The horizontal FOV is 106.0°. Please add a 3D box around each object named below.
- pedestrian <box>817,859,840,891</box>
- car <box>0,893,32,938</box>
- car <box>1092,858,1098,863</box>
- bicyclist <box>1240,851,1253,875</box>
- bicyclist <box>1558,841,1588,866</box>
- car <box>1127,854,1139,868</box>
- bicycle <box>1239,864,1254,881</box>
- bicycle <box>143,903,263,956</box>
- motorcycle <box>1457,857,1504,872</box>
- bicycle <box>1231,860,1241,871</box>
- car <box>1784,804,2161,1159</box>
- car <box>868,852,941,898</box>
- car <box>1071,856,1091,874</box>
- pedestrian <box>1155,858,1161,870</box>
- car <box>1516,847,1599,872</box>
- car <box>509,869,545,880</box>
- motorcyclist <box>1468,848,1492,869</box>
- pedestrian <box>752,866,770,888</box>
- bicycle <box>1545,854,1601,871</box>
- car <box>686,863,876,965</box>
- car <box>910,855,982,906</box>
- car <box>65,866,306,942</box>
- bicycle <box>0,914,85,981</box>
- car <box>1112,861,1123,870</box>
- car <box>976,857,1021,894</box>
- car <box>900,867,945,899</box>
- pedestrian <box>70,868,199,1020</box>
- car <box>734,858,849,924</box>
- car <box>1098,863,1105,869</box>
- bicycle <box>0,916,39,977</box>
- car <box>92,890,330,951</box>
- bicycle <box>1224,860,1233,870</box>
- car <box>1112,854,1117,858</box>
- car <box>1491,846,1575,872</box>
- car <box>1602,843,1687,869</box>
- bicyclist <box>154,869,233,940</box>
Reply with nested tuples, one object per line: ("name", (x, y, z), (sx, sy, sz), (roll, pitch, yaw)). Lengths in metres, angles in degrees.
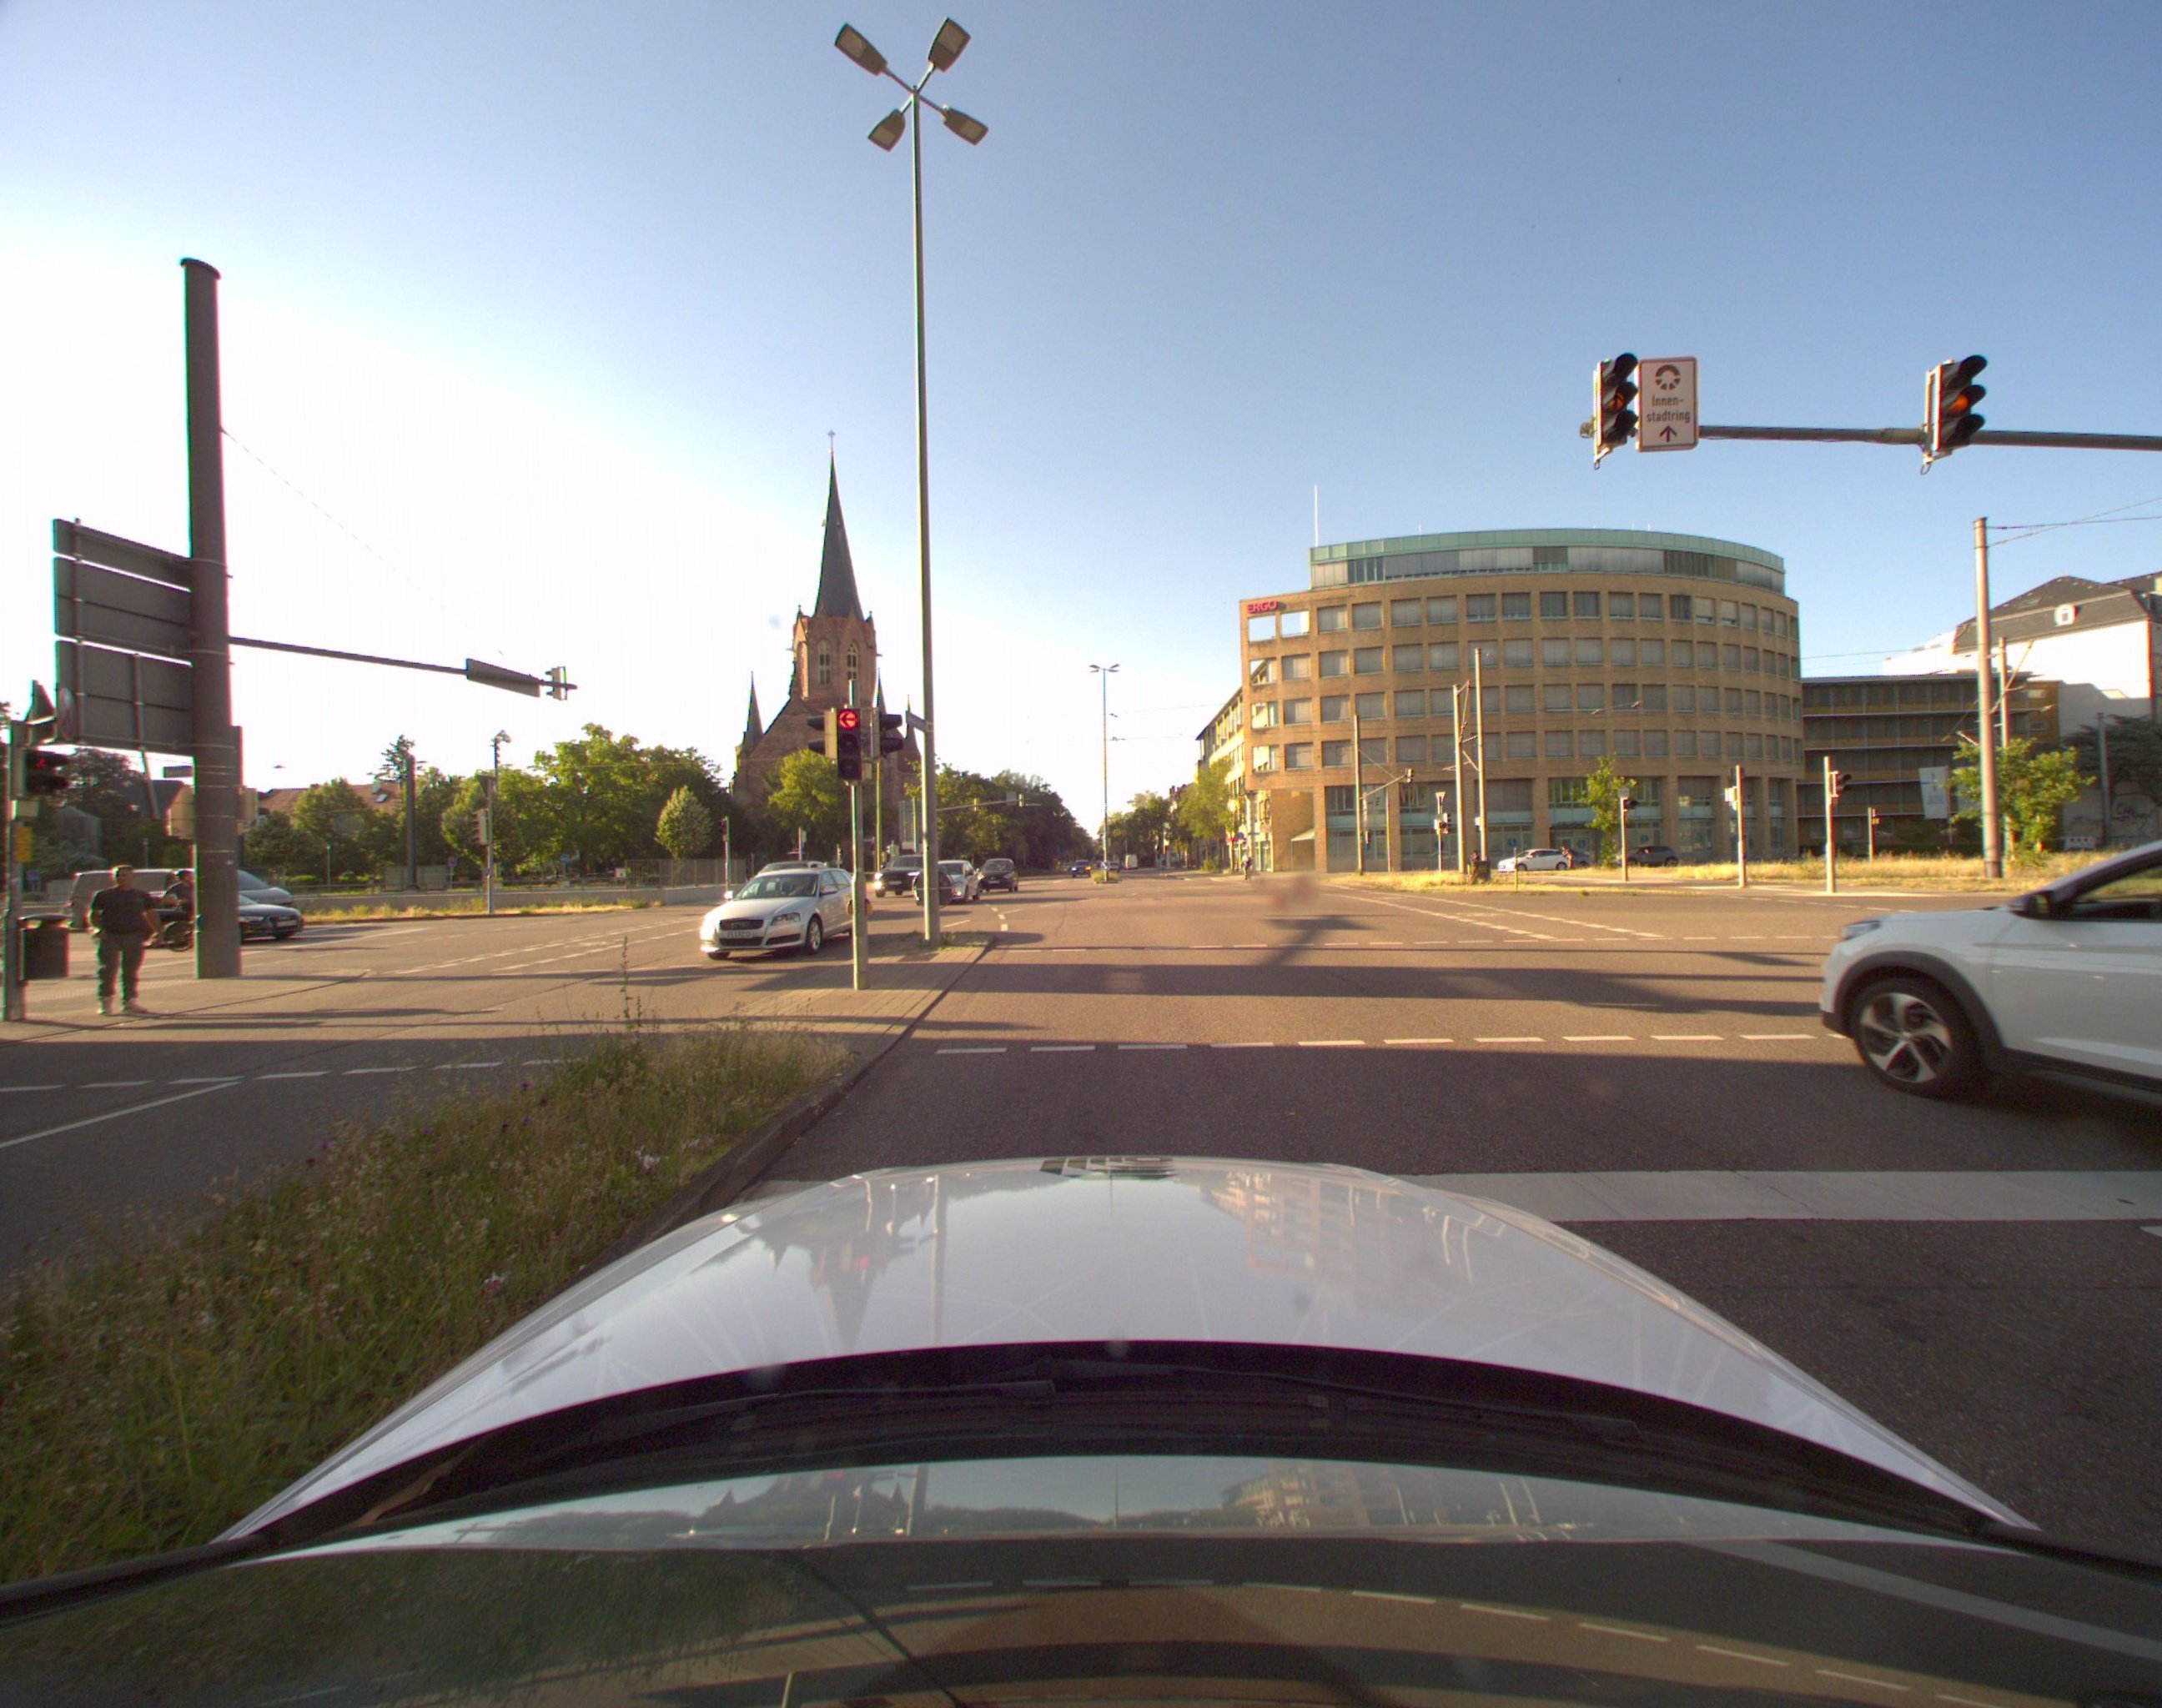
("pedestrian", (-13.811, 1.146, 44.491), (0.962, 1.739, 0.812), (-1, -1, 0))
("car", (-35.089, 1.957, 24.773), (3.889, 1.374, 1.800), (-2, -1, -1))
("car", (4.426, 2.044, 251.326), (1.879, 1.671, 4.002), (0, -1, 2))
("bicyclist", (9.628, 0.512, 47.388), (0.590, 1.369, 0.930), (0, 0, 2))
("bicyclist", (32.222, -0.036, 53.311), (1.219, 1.572, 1.154), (-2, -1, 0))
("car", (9.181, 1.324, 144.473), (1.986, 2.440, 4.002), (0, -1, 2))
("bicycle", (9.648, 1.074, 47.512), (0.590, 0.943, 1.979), (0, 0, 2))
("bicycle", (-20.813, 1.783, 19.346), (1.770, 1.097, 0.952), (-3, 0, 1))
("motorcycle", (27.471, 0.739, 56.083), (2.708, 0.964, 1.032), (-2, -1, 0))
("bicycle", (15.206, 1.145, 79.932), (0.644, 0.994, 2.081), (-2, -1, 1))
("car", (5.835, 0.572, 3.555), (1.910, 1.607, 4.270), (0, 0, 1))
("car", (-7.324, 0.803, 34.290), (1.809, 1.711, 4.788), (-3, 0, 2))
("car", (0.041, 1.207, 85.097), (1.986, 1.724, 5.031), (-2, -1, 1))
("pedestrian", (12.275, 1.607, 130.491), (0.844, 1.803, 0.776), (-2, 0, 1))
("car", (32.749, 0.367, 56.062), (4.464, 1.537, 1.987), (-2, -1, 2))
("car", (-91.766, 3.382, 134.824), (4.450, 1.571, 1.993), (-2, -1, -10))
("motorcyclist", (27.473, 0.295, 56.092), (1.061, 1.435, 1.032), (-2, -1, 1))
("pedestrian", (-25.159, 1.832, 64.082), (1.004, 1.696, 0.849), (-1, -1, 26))
("bicycle", (32.193, 0.575, 53.288), (2.951, 1.000, 1.154), (-2, -1, -1))
("car", (-5.138, 0.948, 14.577), (1.702, 1.425, 4.104), (-3, 0, 2))
("car", (-4.502, 0.839, 27.719), (1.669, 1.544, 3.807), (-2, 0, 2))
("car", (-26.762, 1.446, 24.475), (4.908, 2.014, 1.999), (-2, -1, -1))
("bicycle", (-18.745, 1.642, 13.845), (0.732, 1.051, 2.300), (-2, 0, 1))
("car", (5.273, 1.701, 118.858), (1.588, 1.267, 3.268), (-2, 0, 2))
("car", (-3.814, 0.955, 37.967), (1.572, 1.544, 3.478), (-3, 0, 1))
("car", (-8.532, 1.523, 43.952), (1.572, 1.544, 3.478), (-3, 0, 1))
("pedestrian", (-11.782, 1.083, 10.165), (0.605, 1.787, 0.813), (1, 0, 5))
("car", (-7.785, 0.945, 22.262), (1.669, 1.544, 3.639), (-3, 0, 1))
("car", (5.032, 2.925, 197.012), (1.588, 1.267, 3.268), (-2, 0, 2))
("bicycle", (-19.550, 1.663, 13.823), (0.732, 1.051, 2.300), (-2, -1, 1))
("car", (-22.648, 1.705, 21.326), (4.175, 1.312, 1.800), (-2, -1, -1))
("bicycle", (15.313, 1.183, 84.512), (0.644, 0.994, 2.081), (-2, -1, 1))
("car", (10.425, 0.703, 254.971), (1.588, 1.267, 3.268), (-2, 0, 2))
("car", (28.280, 0.317, 51.035), (4.150, 1.492, 1.994), (-2, -1, -1))
("car", (35.220, 0.125, 50.970), (4.038, 1.492, 1.820), (-2, -1, 0))
("bicyclist", (-21.063, 1.179, 19.345), (0.733, 1.598, 0.963), (-3, 0, 1))
